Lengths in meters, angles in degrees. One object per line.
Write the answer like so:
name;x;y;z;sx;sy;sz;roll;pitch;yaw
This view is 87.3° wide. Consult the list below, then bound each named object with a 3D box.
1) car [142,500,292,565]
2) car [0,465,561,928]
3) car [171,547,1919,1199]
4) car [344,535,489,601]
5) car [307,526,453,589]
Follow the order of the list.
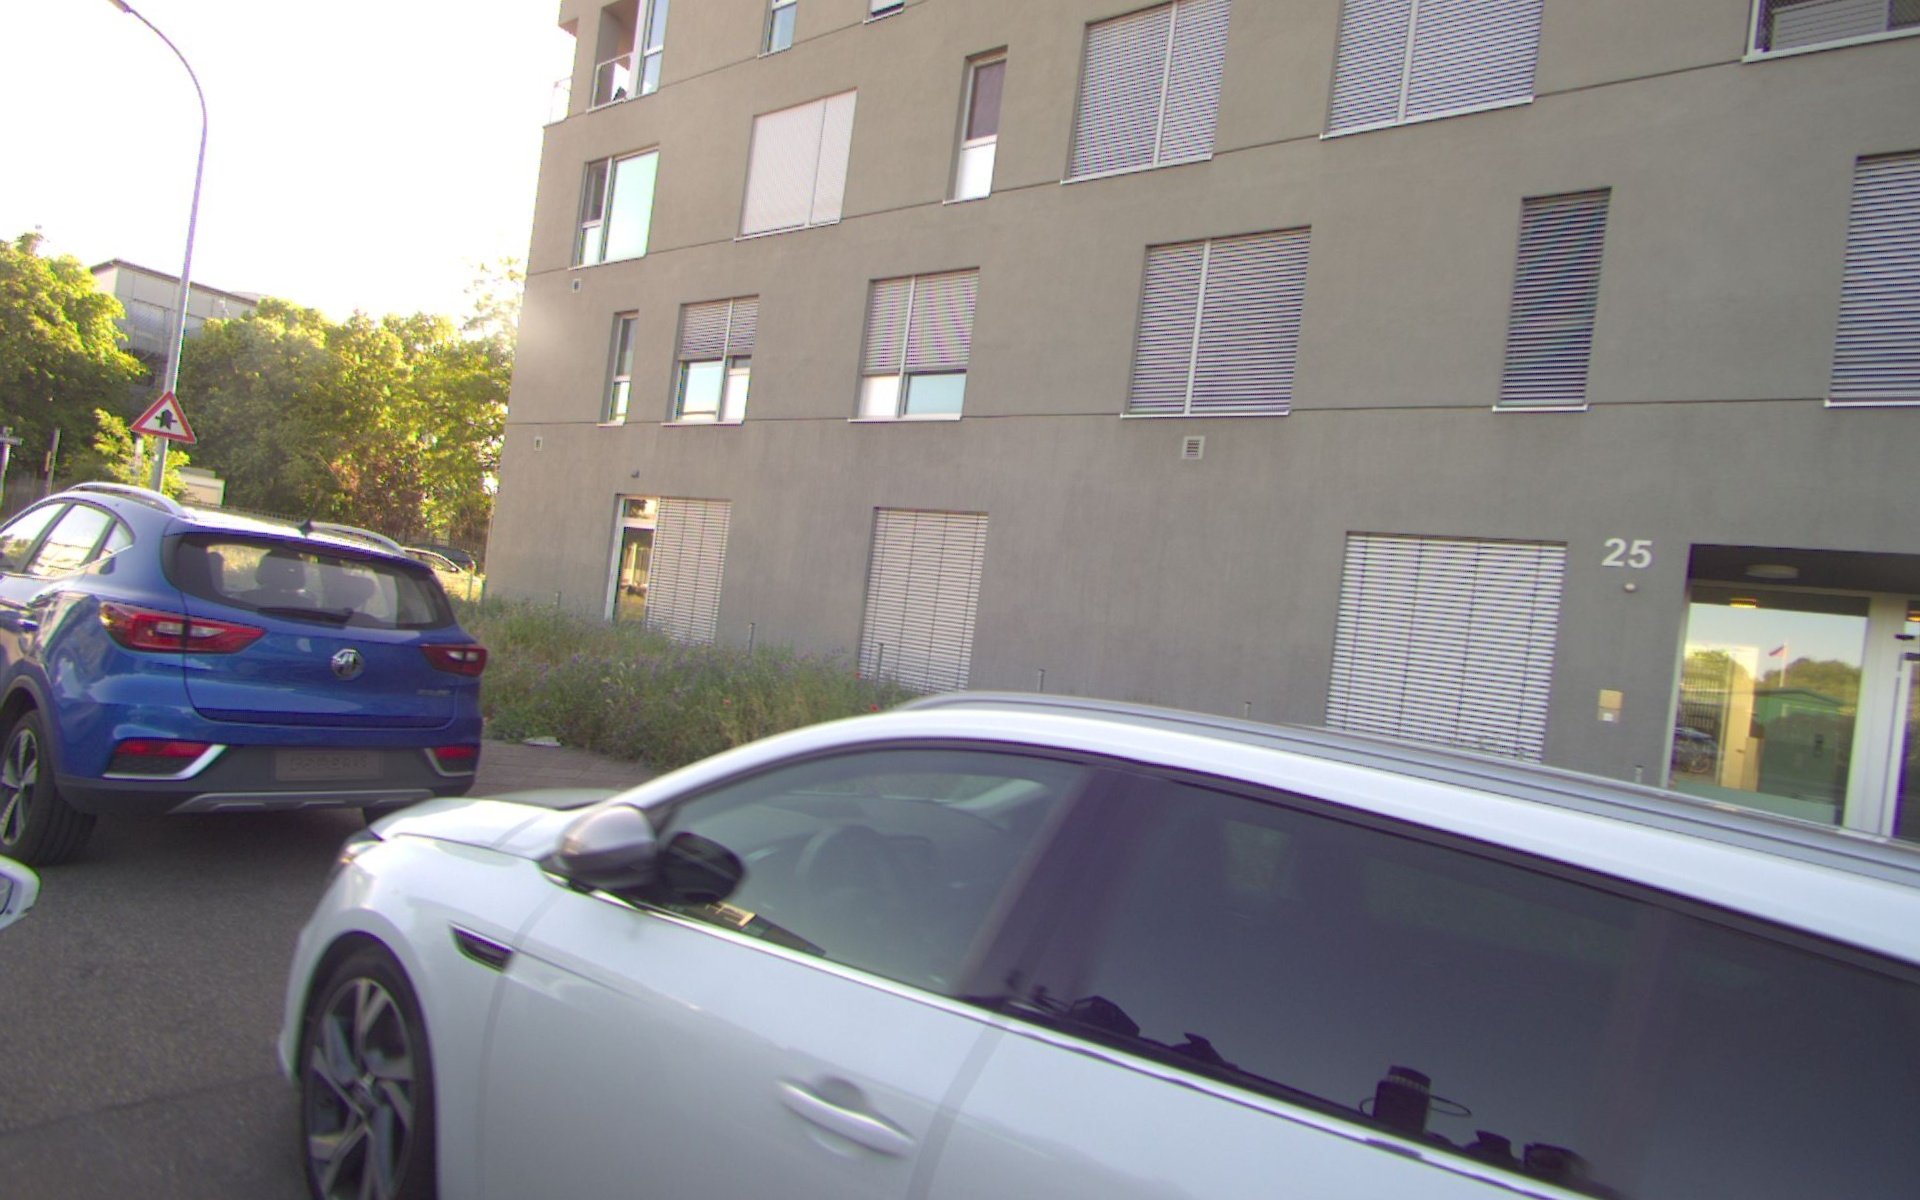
car;-24.175;-2.173;32.830;1.576;1.503;3.548;7;-1;37
car;-4.484;0.253;5.614;4.554;1.617;1.820;7;-3;35
car;0.279;0.893;2.074;4.515;1.445;1.747;7;-3;37
car;-16.237;-0.930;30.151;1.690;1.475;3.324;7;-1;41
car;-21.119;-1.525;36.763;1.729;1.656;4.154;7;-1;37
